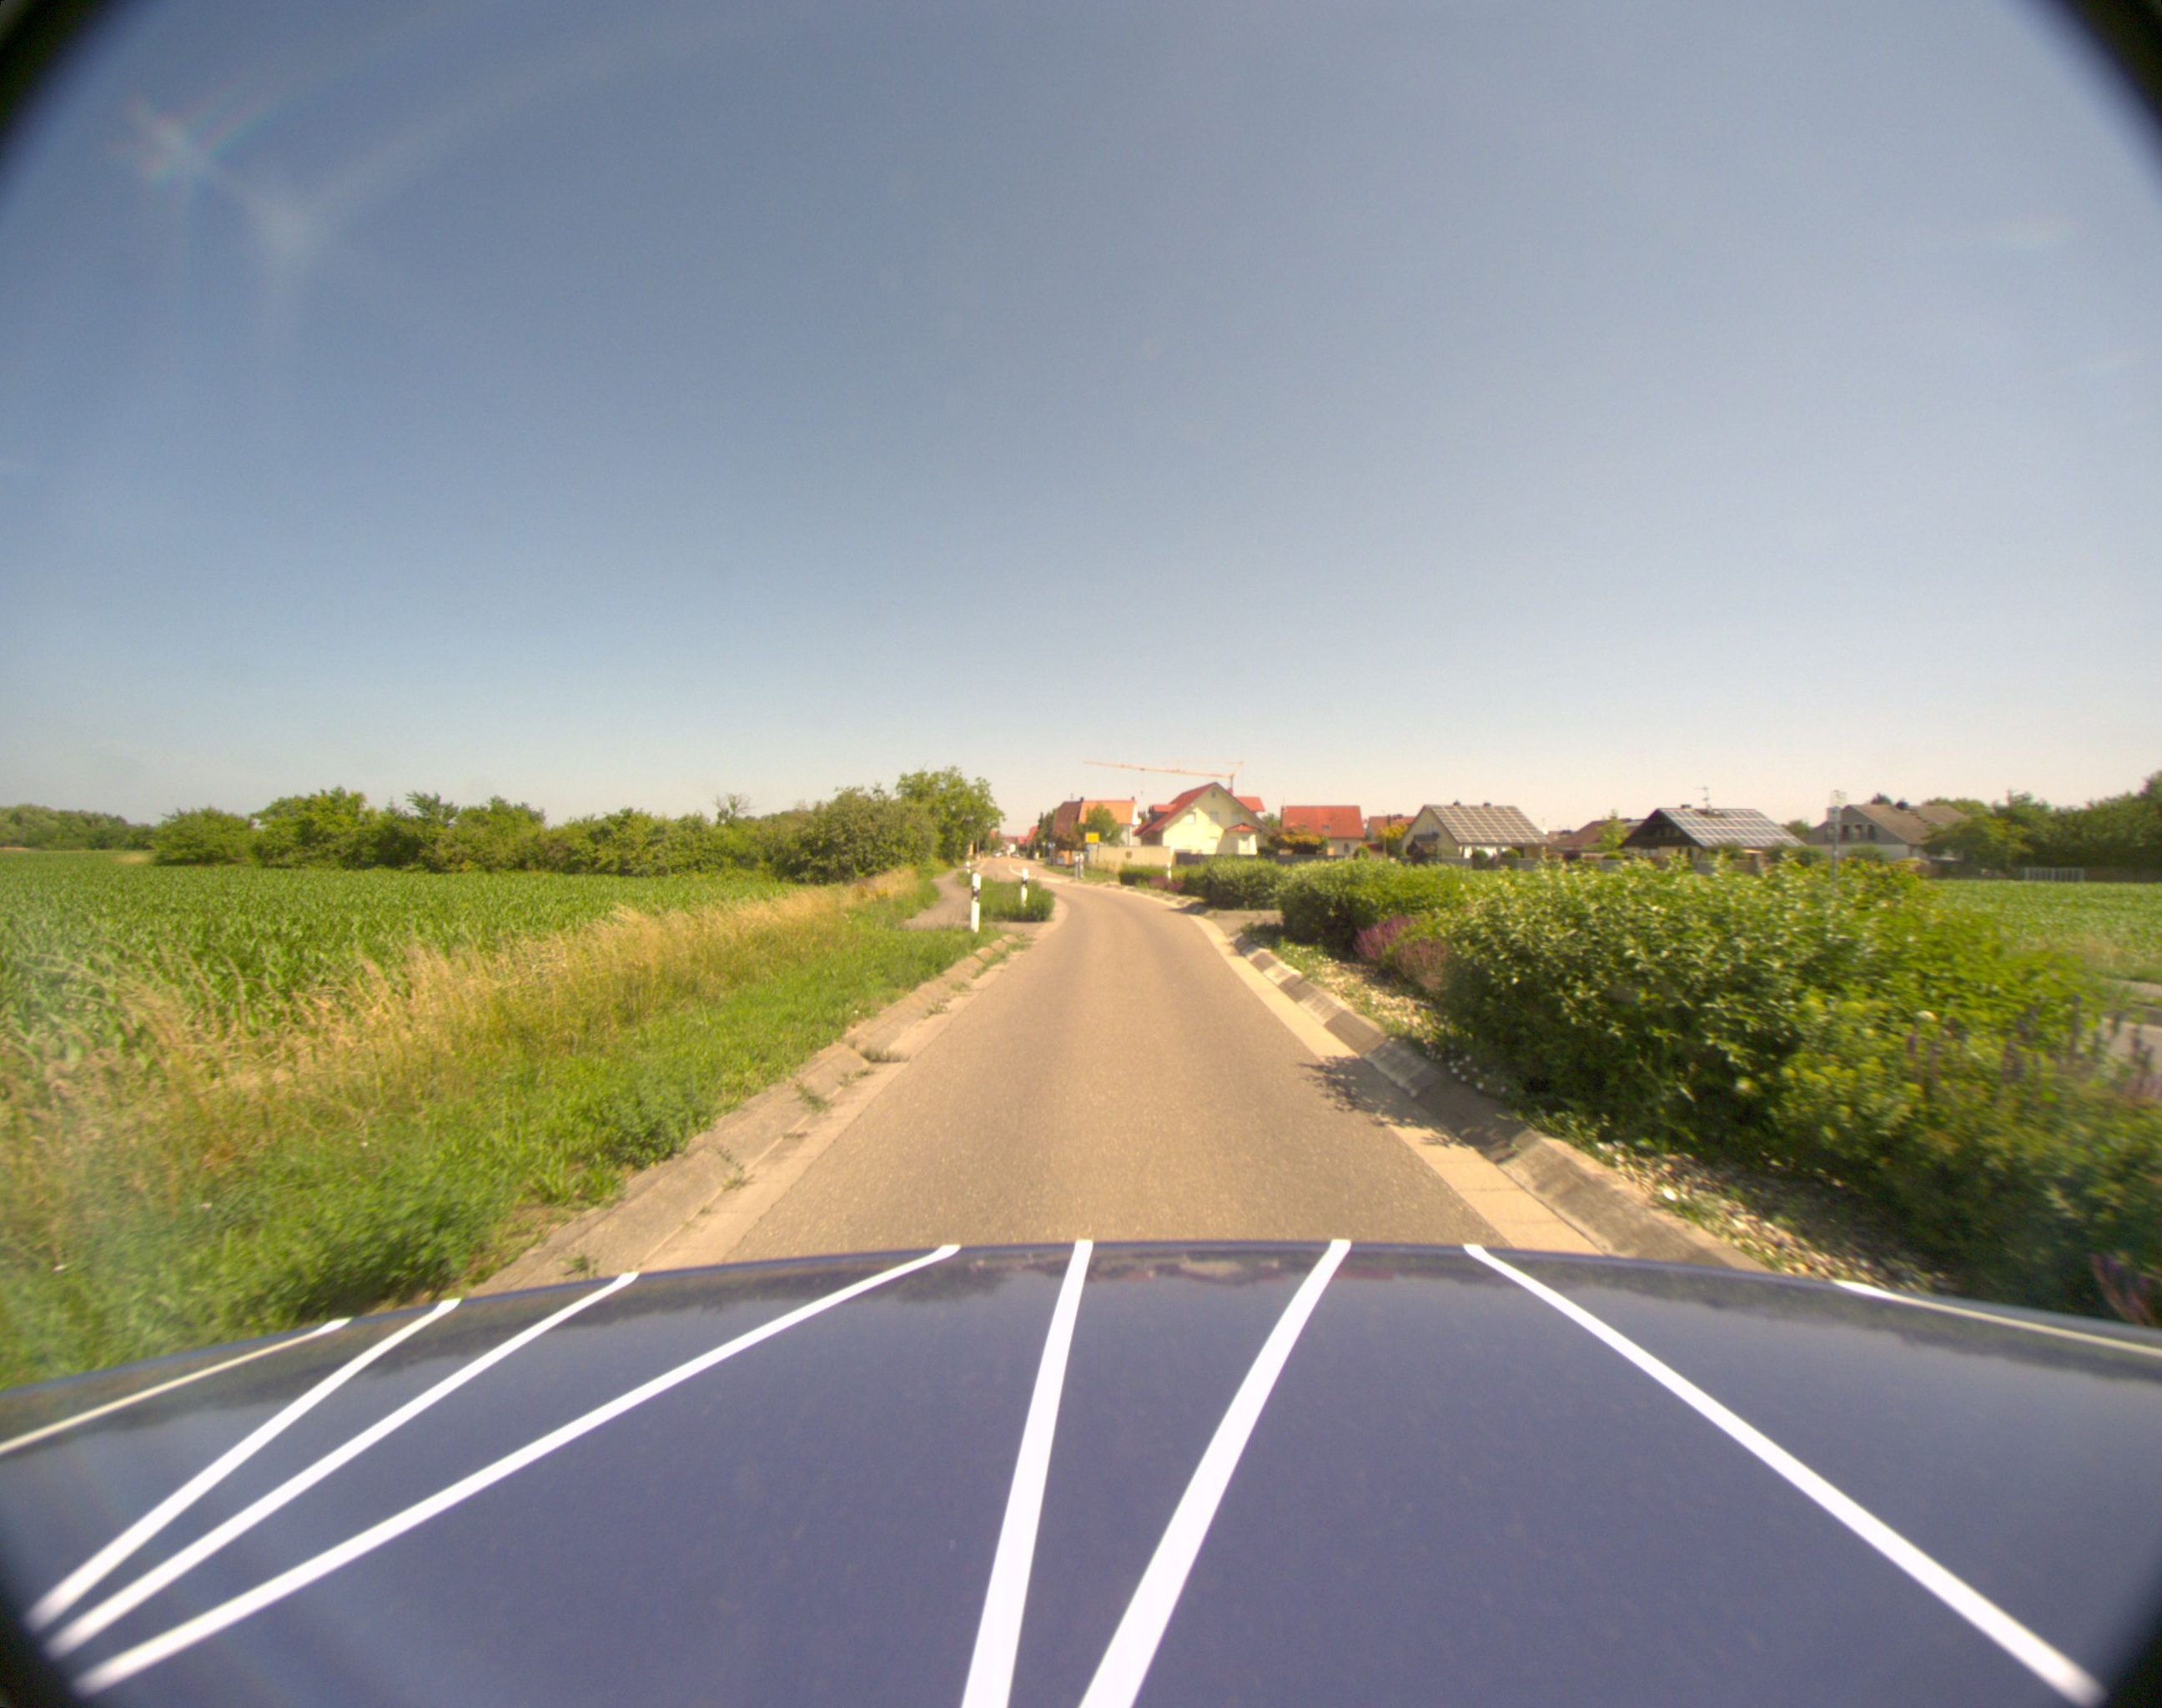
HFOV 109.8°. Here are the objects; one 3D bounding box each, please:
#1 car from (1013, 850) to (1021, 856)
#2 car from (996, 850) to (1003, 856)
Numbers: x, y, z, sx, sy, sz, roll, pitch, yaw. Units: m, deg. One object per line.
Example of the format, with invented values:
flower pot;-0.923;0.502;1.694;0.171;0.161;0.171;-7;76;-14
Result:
car;-14.789;-0.248;175.954;1.734;1.380;3.530;1;0;-5
car;-20.236;-0.339;188.122;1.734;1.380;3.530;1;0;-5
